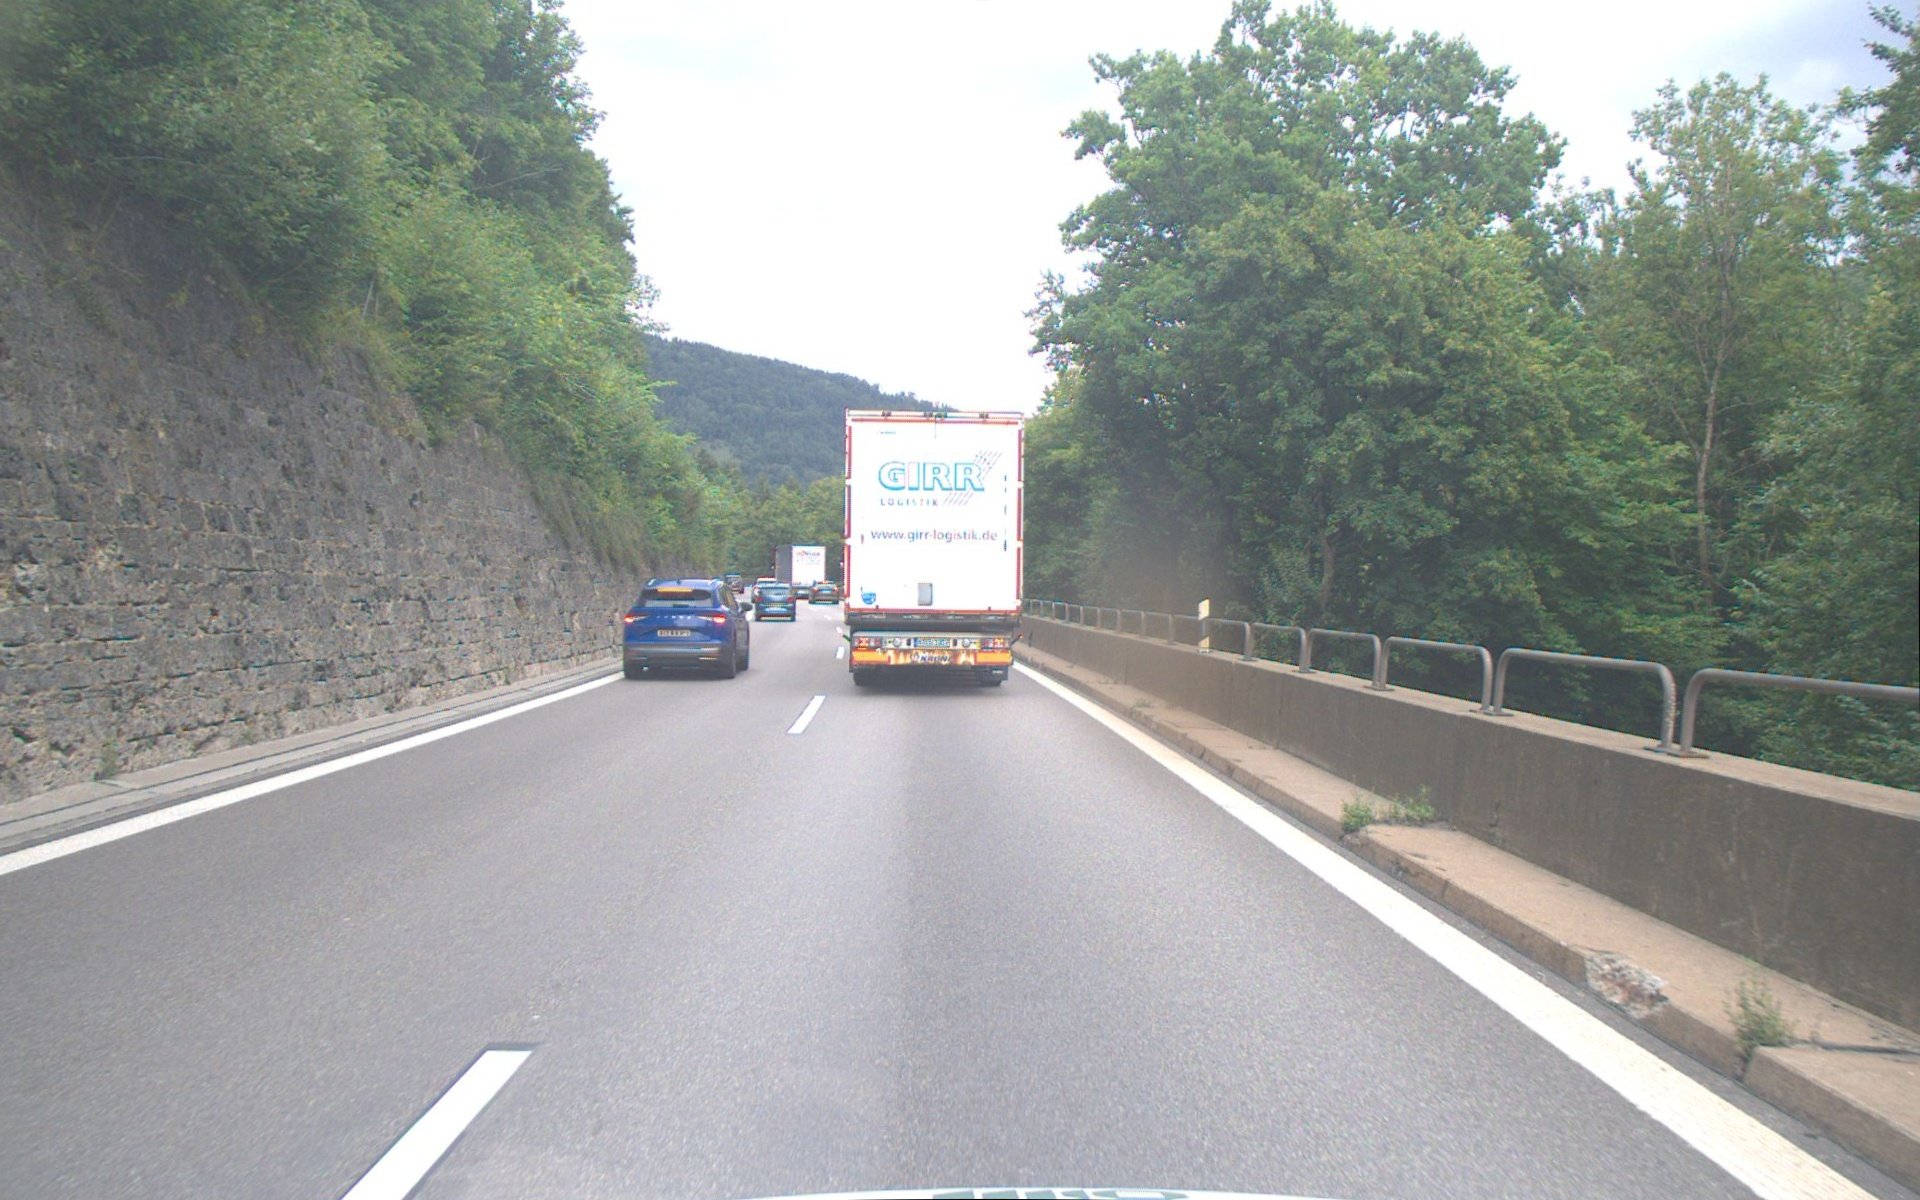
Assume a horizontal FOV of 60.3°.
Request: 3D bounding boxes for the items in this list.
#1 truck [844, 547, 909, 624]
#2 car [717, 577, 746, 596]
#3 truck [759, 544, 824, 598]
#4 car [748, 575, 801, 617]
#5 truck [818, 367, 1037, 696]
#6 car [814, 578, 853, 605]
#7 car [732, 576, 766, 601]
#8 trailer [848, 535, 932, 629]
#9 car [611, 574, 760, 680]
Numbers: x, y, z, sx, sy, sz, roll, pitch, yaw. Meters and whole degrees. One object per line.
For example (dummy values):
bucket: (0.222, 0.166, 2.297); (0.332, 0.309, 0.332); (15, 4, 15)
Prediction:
truck: (-3.407, -0.582, 66.280); (2.167, 2.901, 4.996); (1, 0, -7)
car: (-20.082, -1.230, 145.455); (1.866, 1.577, 4.230); (1, 1, -17)
truck: (-13.140, -2.229, 127.816); (2.593, 3.925, 12.299); (0, 1, -17)
car: (-7.594, -0.175, 67.420); (1.956, 1.624, 4.346); (1, 0, -8)
truck: (-0.644, -1.047, 30.430); (3.022, 4.542, 15.151); (0, 1, -1)
car: (-8.162, -0.576, 106.336); (2.024, 1.683, 3.988); (0, 1, -12)
car: (-13.676, -0.760, 107.049); (1.863, 1.577, 4.238); (1, 1, -11)
trailer: (-2.702, -0.646, 60.628); (2.169, 3.101, 11.123); (1, 0, -7)
car: (-4.623, 0.437, 28.555); (1.953, 1.661, 5.005); (0, 0, -3)
